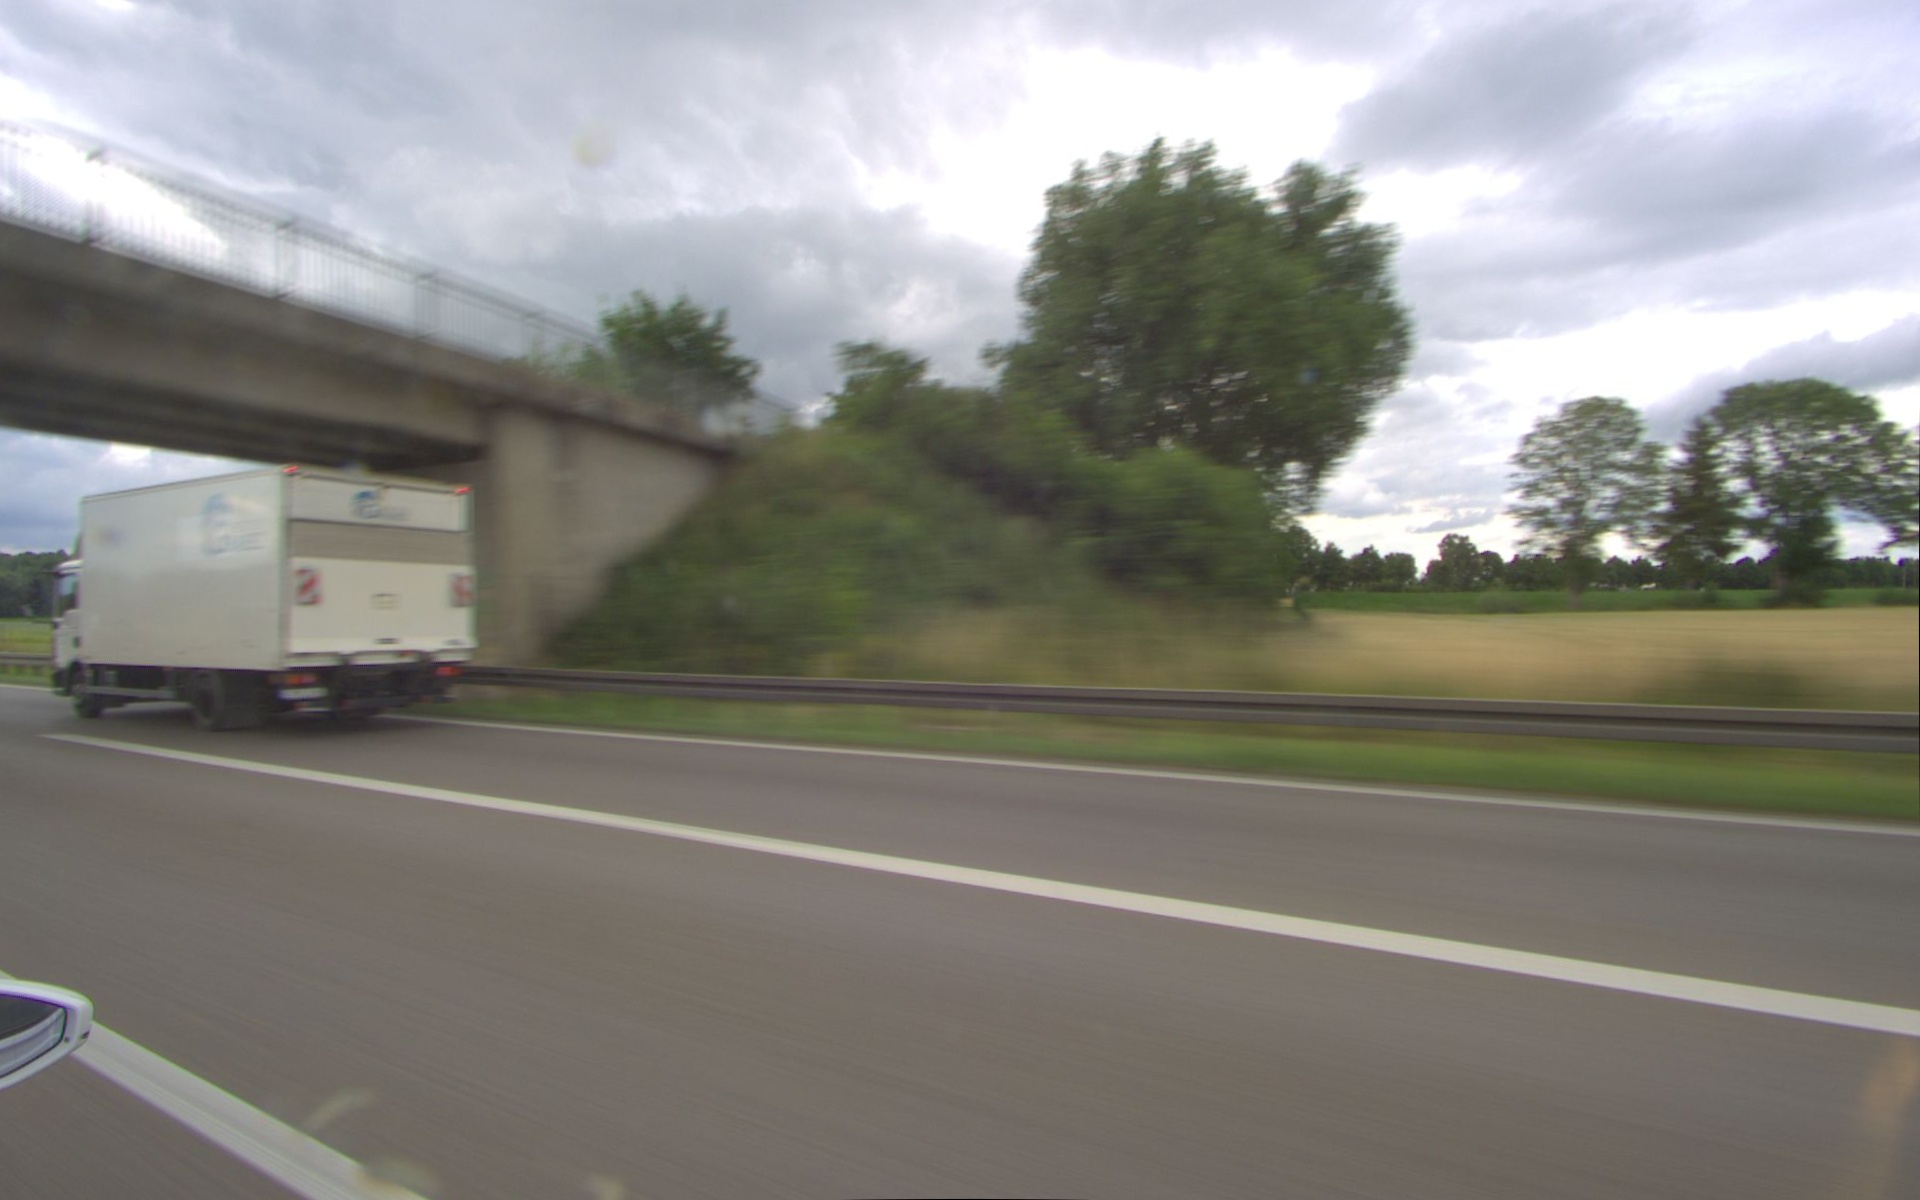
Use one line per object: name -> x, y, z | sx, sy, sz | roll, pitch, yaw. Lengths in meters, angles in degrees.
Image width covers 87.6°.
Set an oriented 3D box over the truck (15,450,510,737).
truck -> -11.258, 0.036, 15.846 | 8.760, 3.514, 3.101 | -1, -2, 31
